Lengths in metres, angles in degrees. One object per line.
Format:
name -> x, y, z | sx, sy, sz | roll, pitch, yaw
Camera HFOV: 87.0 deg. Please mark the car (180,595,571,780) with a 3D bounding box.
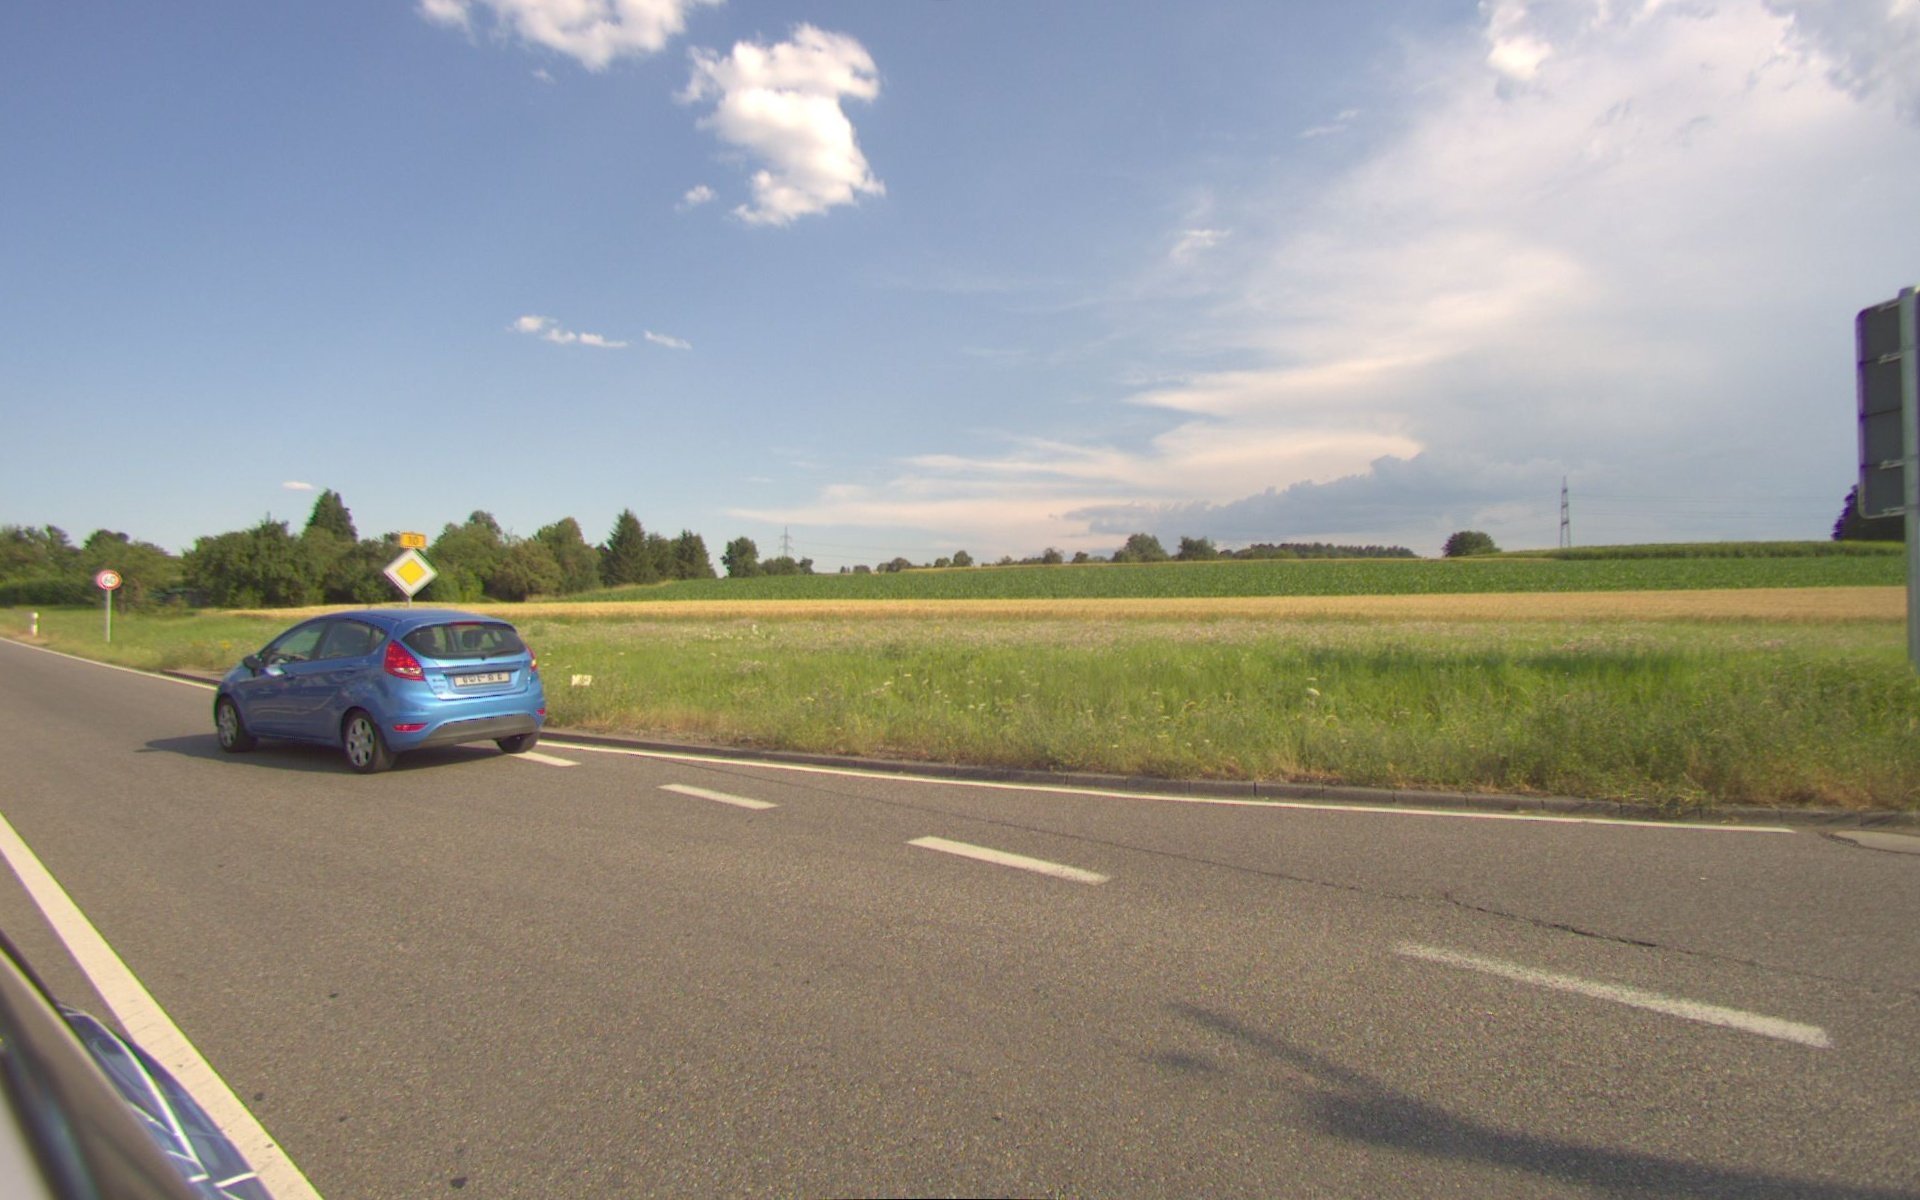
car -> -5.892, 0.762, 10.096 | 3.987, 1.512, 1.745 | -1, -2, 33
